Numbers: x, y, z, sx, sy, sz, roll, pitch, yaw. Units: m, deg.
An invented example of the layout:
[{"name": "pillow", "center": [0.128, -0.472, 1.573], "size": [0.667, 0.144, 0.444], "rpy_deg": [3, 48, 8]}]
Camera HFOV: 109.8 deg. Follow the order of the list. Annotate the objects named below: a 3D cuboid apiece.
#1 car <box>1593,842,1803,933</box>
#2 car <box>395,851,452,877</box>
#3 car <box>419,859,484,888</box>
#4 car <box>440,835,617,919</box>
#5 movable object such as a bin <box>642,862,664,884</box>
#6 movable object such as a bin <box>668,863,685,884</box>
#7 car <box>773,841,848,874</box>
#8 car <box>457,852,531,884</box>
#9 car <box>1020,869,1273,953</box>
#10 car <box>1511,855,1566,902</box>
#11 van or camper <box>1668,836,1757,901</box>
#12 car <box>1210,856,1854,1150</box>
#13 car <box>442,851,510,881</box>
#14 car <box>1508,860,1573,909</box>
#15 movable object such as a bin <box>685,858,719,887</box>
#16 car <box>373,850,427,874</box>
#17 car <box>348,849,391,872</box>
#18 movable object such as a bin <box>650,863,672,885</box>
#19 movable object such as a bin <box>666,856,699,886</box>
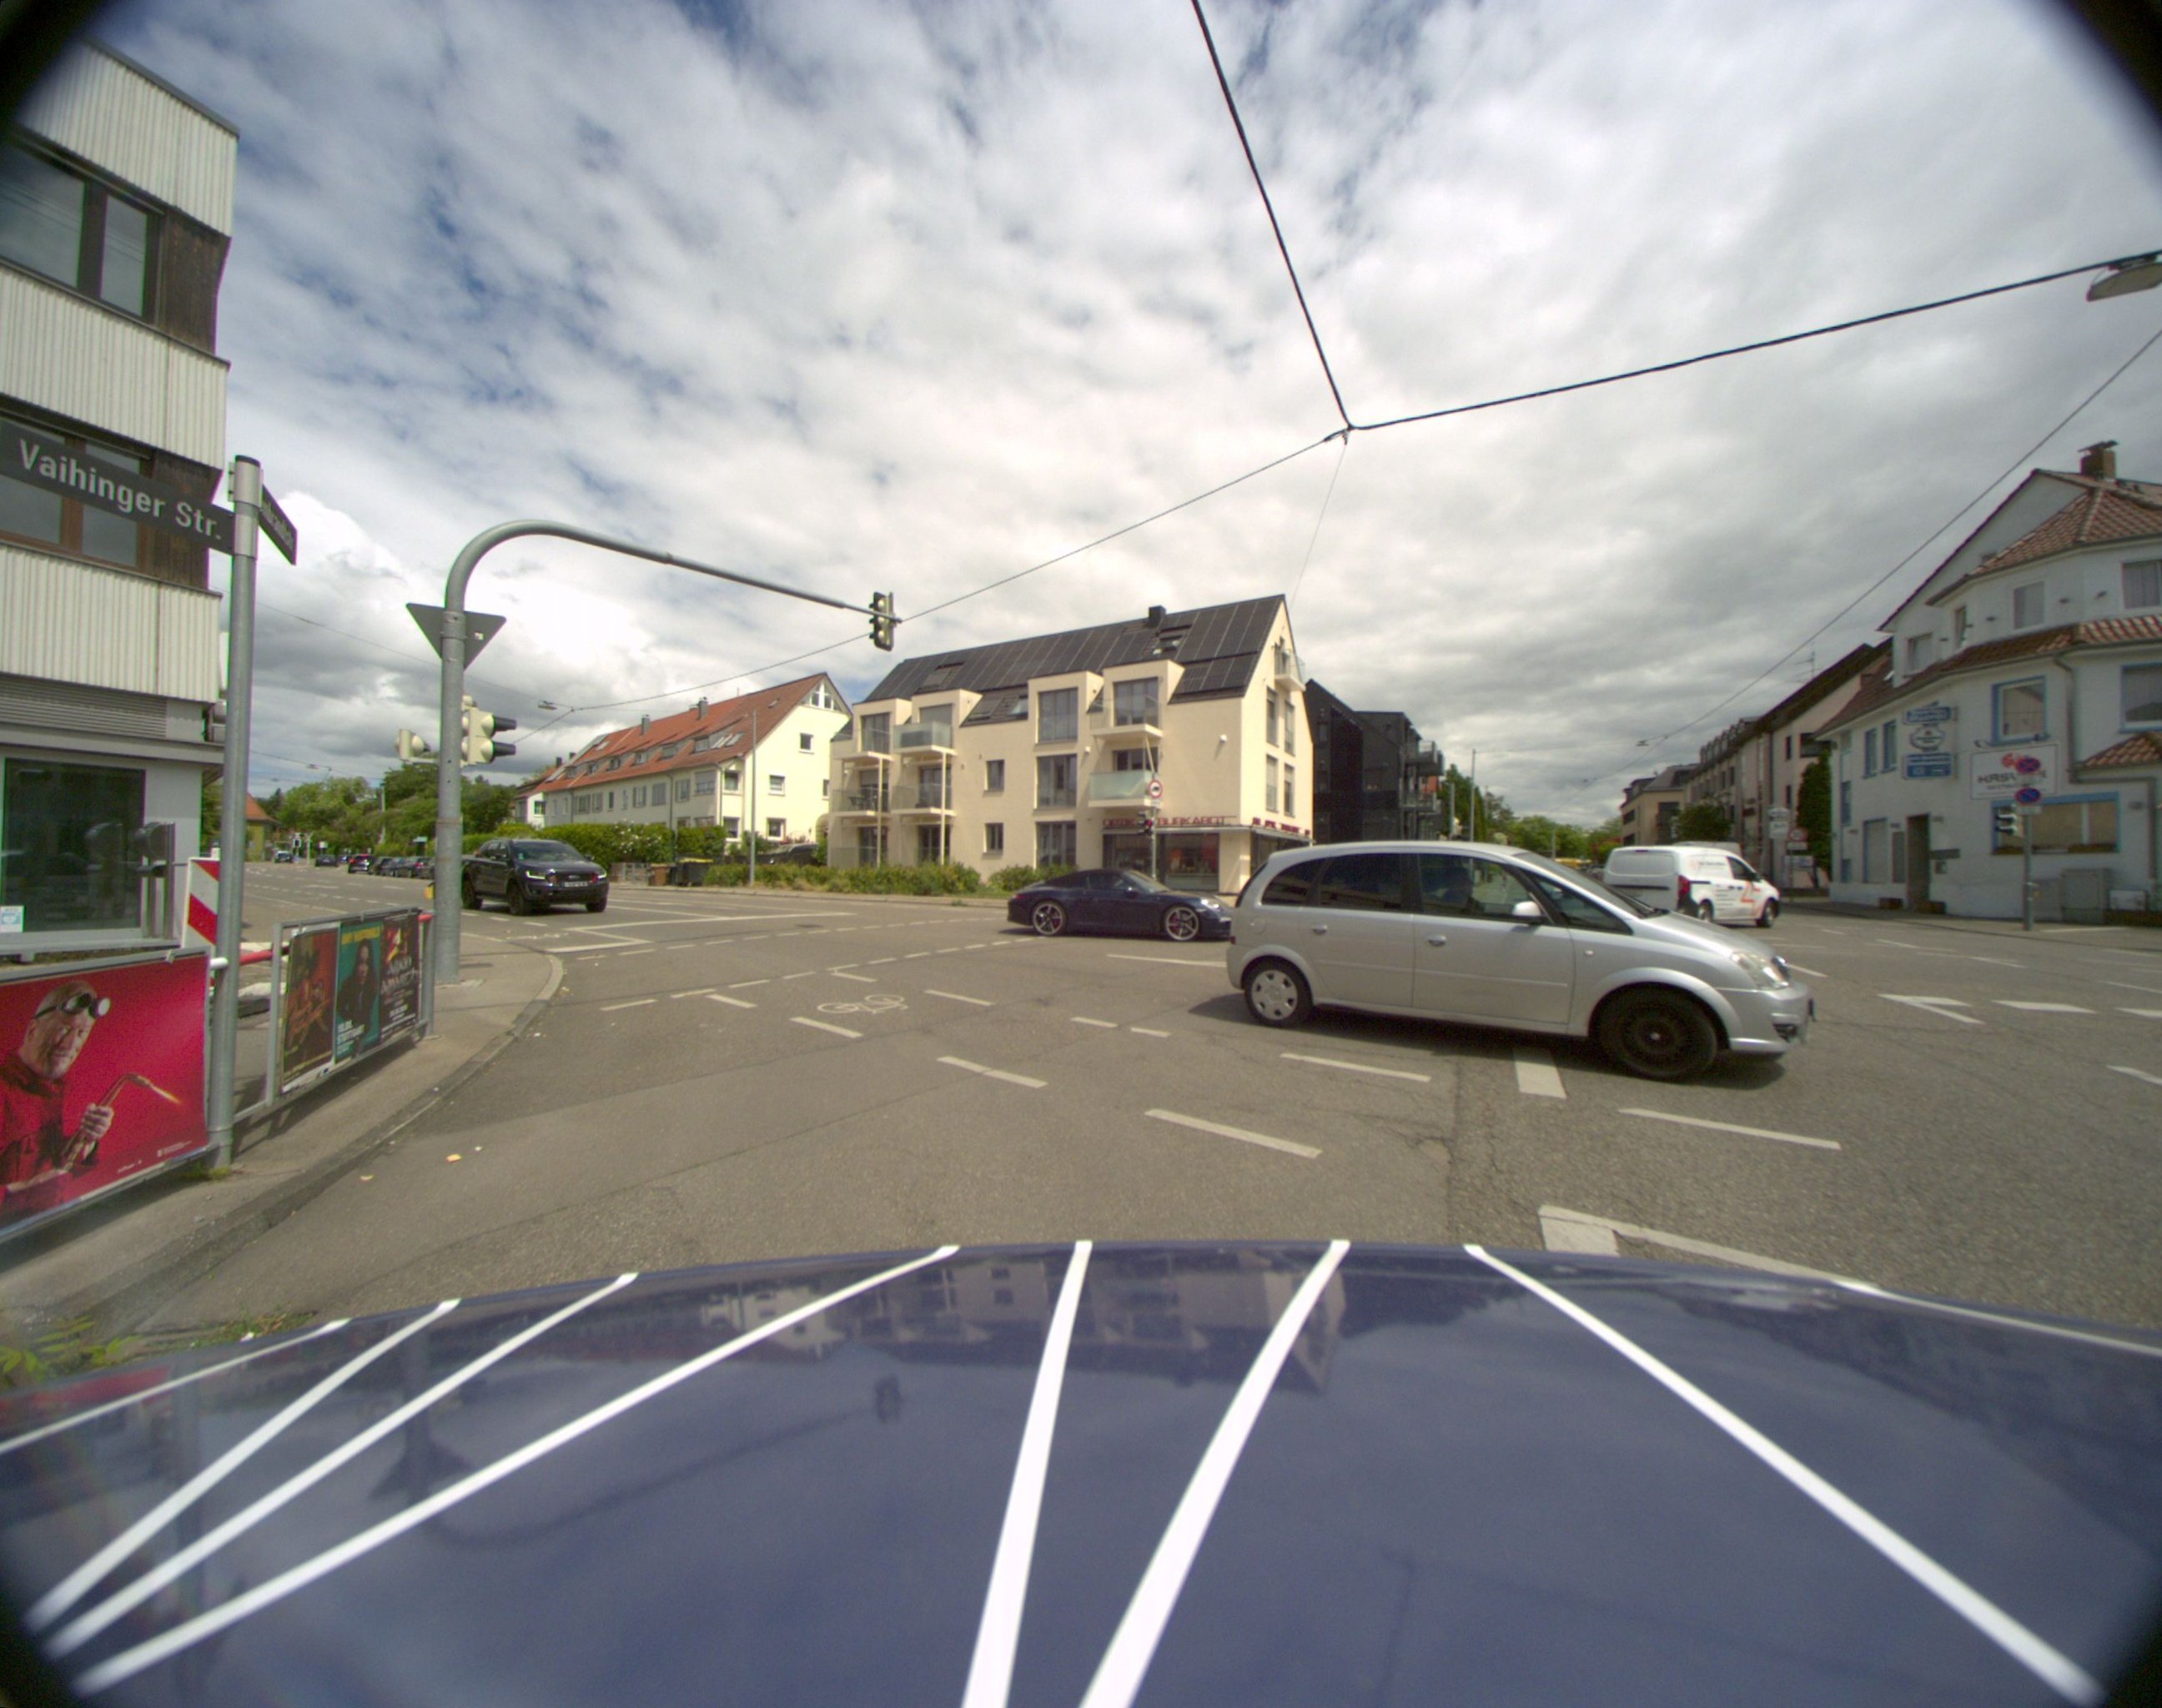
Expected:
[{"name": "car", "center": [13.655, 0.723, 16.810], "size": [4.424, 1.801, 1.818], "rpy_deg": [1, -1, -24]}, {"name": "car", "center": [-44.383, 0.646, 51.257], "size": [4.224, 1.623, 2.004], "rpy_deg": [0, 0, 36]}, {"name": "car", "center": [-39.802, 1.219, 48.014], "size": [4.224, 1.622, 2.006], "rpy_deg": [0, -6, 36]}, {"name": "car", "center": [-13.824, 0.495, 18.899], "size": [5.205, 1.838, 1.892], "rpy_deg": [0, 0, 34]}, {"name": "movable object such as a bin", "center": [-21.279, 0.935, 37.767], "size": [0.690, 1.059, 0.766], "rpy_deg": [1, 0, 43]}, {"name": "movable object such as a bin", "center": [-20.094, 0.962, 37.762], "size": [0.523, 1.059, 0.656], "rpy_deg": [1, 0, -3]}, {"name": "car", "center": [-16.900, 0.220, 47.669], "size": [1.994, 2.002, 4.009], "rpy_deg": [1, 0, 36]}, {"name": "car", "center": [-31.761, 0.737, 41.085], "size": [4.440, 1.623, 2.004], "rpy_deg": [0, 0, 36]}, {"name": "car", "center": [1.250, 0.962, 14.132], "size": [4.293, 1.275, 2.003], "rpy_deg": [0, 0, 20]}, {"name": "car", "center": [20.983, 1.054, 34.991], "size": [1.994, 2.002, 4.008], "rpy_deg": [1, 0, 29]}, {"name": "van or camper", "center": [27.849, 0.628, 33.705], "size": [2.108, 2.572, 5.657], "rpy_deg": [4, 1, 31]}, {"name": "car", "center": [3.244, 0.818, 6.091], "size": [3.989, 1.566, 1.779], "rpy_deg": [0, 0, 41]}, {"name": "car", "center": [-35.480, 0.682, 44.528], "size": [4.224, 1.623, 2.004], "rpy_deg": [0, 0, 36]}, {"name": "car", "center": [17.550, 1.102, 29.155], "size": [1.994, 1.674, 4.008], "rpy_deg": [1, 0, 29]}, {"name": "movable object such as a bin", "center": [-18.046, 0.876, 36.171], "size": [0.978, 1.354, 1.095], "rpy_deg": [1, 0, 36]}, {"name": "car", "center": [-48.781, 0.551, 54.400], "size": [4.224, 1.623, 2.004], "rpy_deg": [0, 0, 36]}, {"name": "car", "center": [-59.249, 0.527, 63.266], "size": [4.057, 1.903, 2.004], "rpy_deg": [0, 0, 38]}, {"name": "movable object such as a bin", "center": [-20.624, 0.987, 37.280], "size": [0.690, 1.059, 0.766], "rpy_deg": [1, 0, 43]}, {"name": "movable object such as a bin", "center": [-19.440, 0.803, 37.109], "size": [0.978, 1.438, 1.095], "rpy_deg": [1, 0, 36]}]
